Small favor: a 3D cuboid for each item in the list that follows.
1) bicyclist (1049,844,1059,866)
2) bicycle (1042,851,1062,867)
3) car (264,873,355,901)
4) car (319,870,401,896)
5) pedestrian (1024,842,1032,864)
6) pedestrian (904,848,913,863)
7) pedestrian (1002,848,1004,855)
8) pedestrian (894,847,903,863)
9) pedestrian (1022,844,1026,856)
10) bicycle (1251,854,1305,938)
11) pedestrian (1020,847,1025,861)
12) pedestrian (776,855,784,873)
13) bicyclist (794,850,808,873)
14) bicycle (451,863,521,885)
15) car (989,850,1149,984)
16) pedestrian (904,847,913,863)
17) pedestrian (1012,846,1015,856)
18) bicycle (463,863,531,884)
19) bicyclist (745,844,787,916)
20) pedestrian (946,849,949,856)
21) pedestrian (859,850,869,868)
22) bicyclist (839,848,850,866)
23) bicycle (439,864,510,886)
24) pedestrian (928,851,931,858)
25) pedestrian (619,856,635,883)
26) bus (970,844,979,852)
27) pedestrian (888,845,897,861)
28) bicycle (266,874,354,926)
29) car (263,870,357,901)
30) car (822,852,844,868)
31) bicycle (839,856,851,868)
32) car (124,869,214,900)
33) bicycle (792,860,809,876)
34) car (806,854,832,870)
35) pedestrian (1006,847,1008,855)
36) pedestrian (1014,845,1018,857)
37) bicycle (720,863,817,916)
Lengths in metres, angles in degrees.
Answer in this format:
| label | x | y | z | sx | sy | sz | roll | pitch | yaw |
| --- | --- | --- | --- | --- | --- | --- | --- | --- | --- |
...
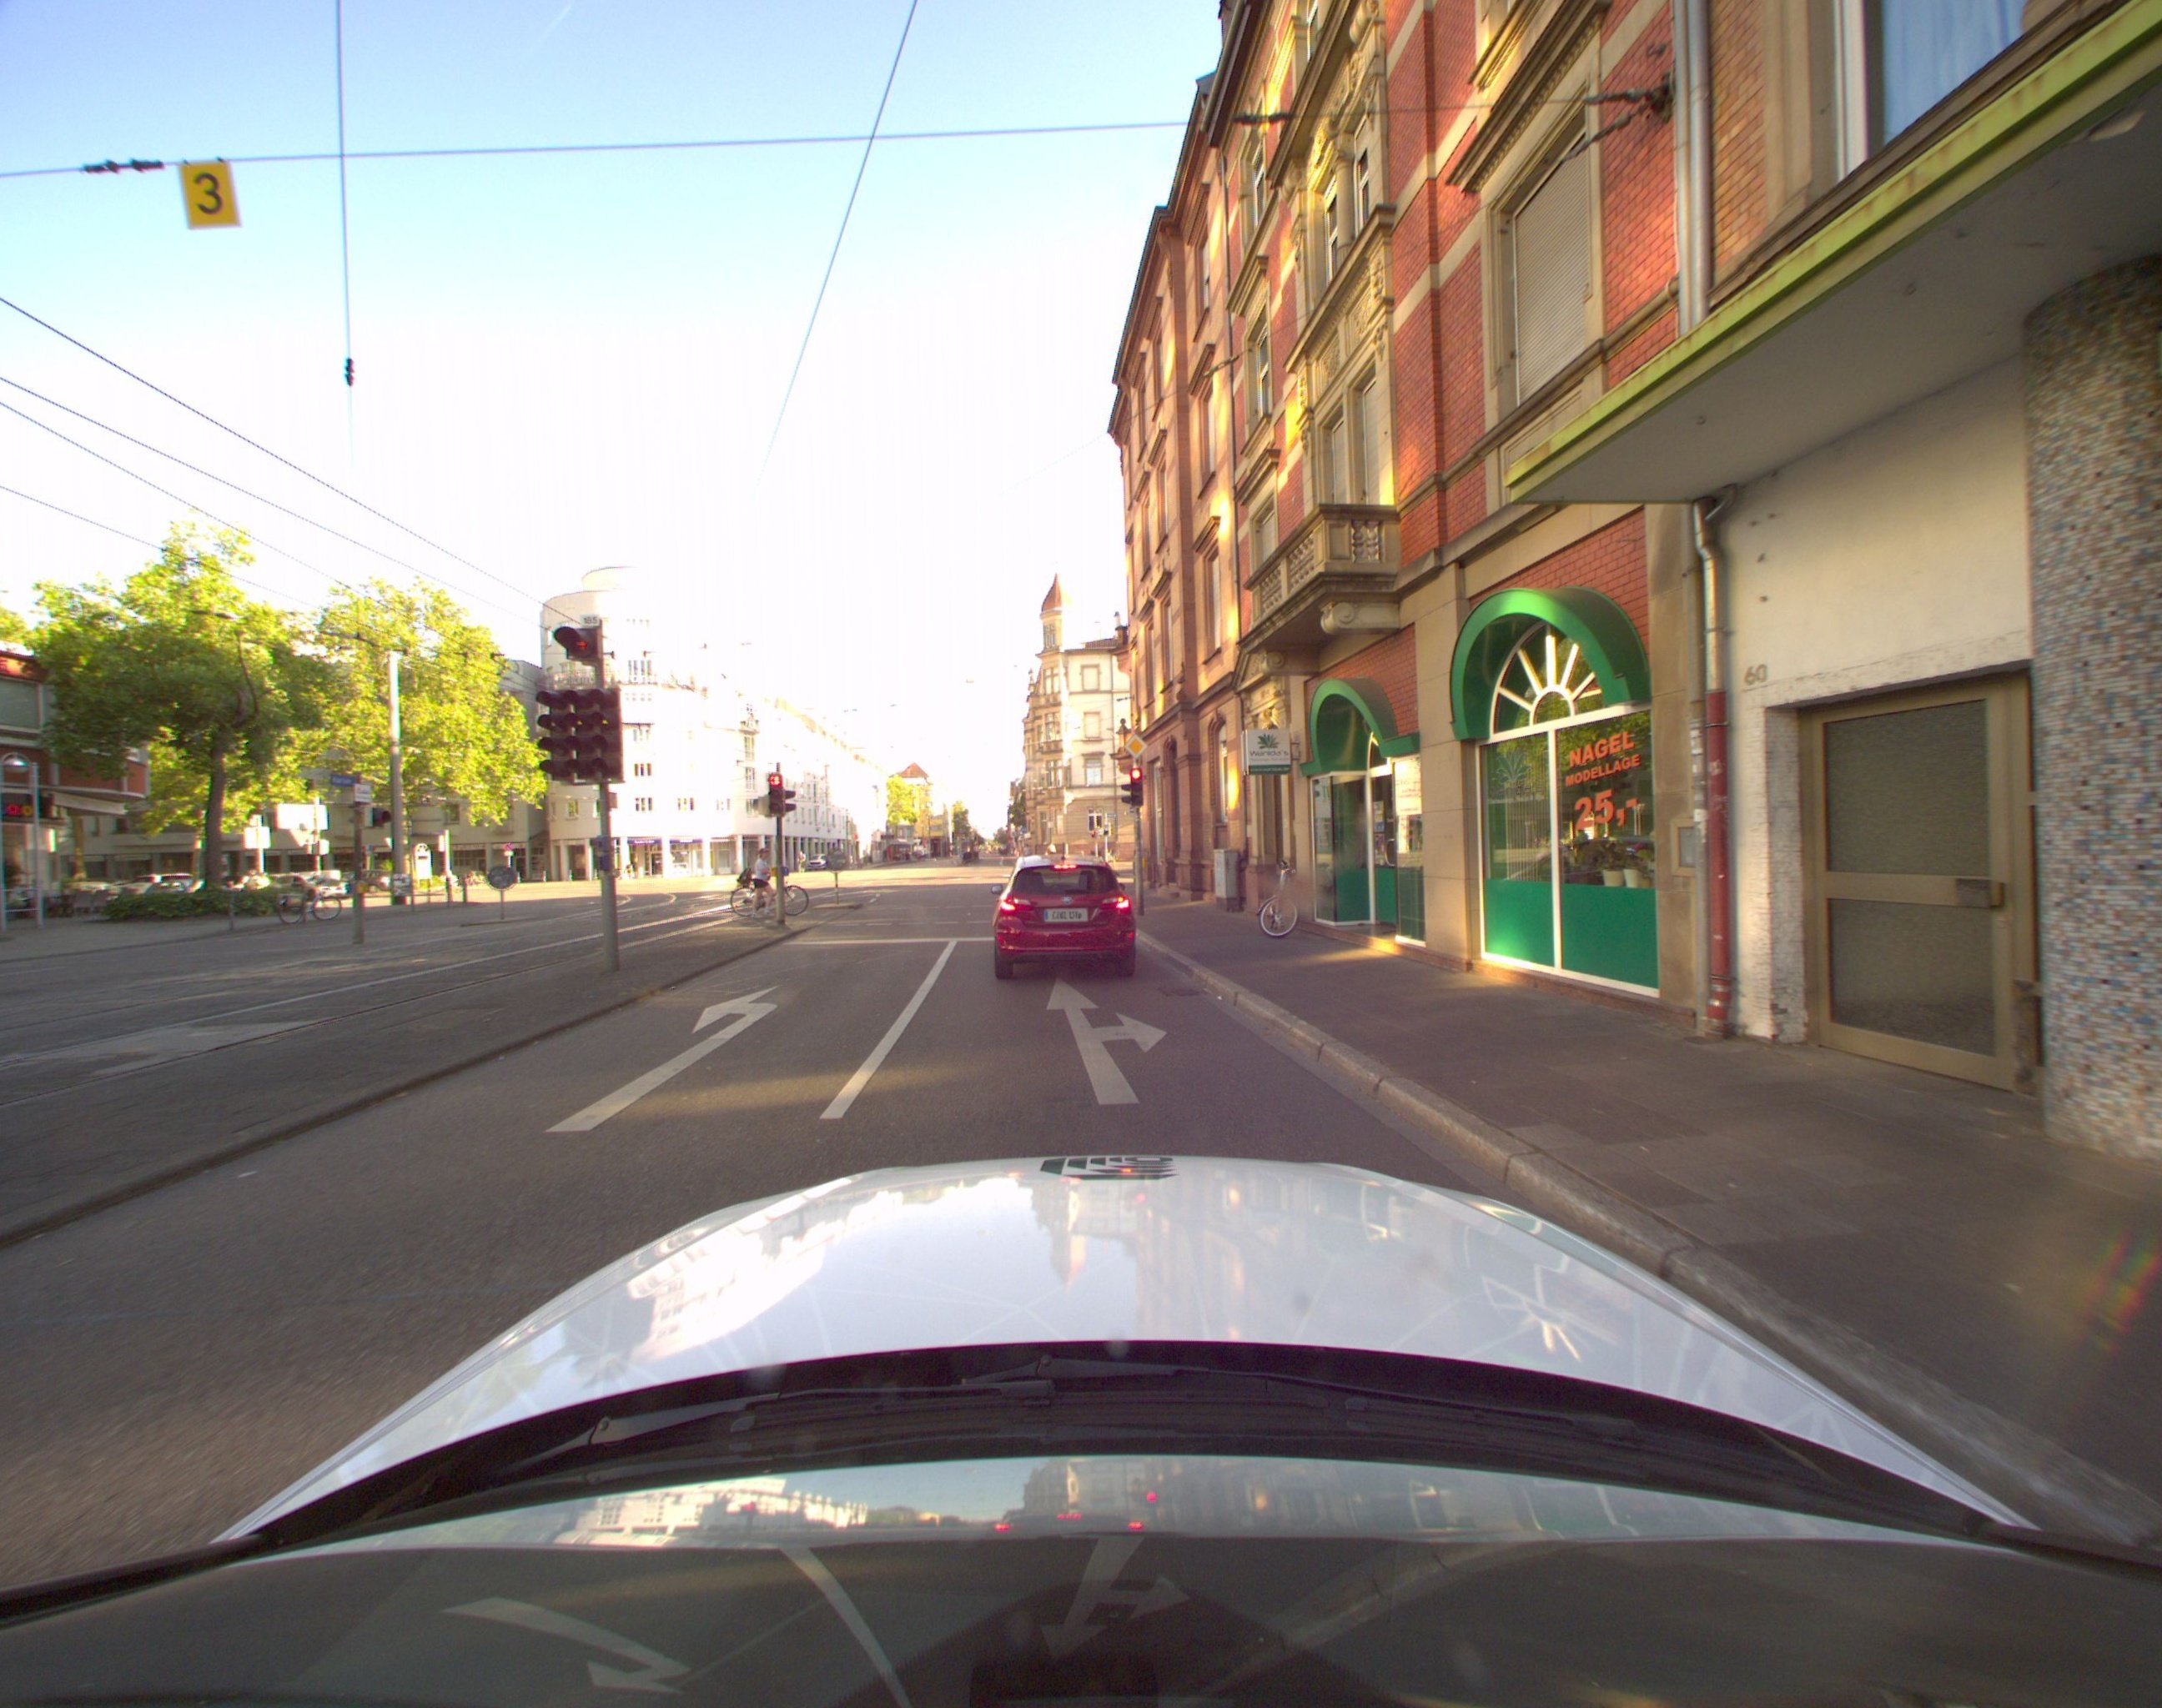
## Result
| label | x | y | z | sx | sy | sz | roll | pitch | yaw |
| --- | --- | --- | --- | --- | --- | --- | --- | --- | --- |
| bicyclist | -2.012 | 0.074 | 60.620 | 0.538 | 1.676 | 0.504 | -2 | 0 | 42 |
| bicycle | -2.179 | 0.376 | 60.781 | 1.467 | 1.089 | 0.531 | -2 | 0 | 43 |
| car | -40.295 | 1.710 | 42.560 | 3.971 | 1.295 | 1.780 | -2 | 1 | 19 |
| car | -48.667 | 1.933 | 55.044 | 3.975 | 1.531 | 1.616 | -2 | 1 | -1 |
| pedestrian | -5.028 | -0.116 | 76.907 | 0.650 | 2.013 | 0.758 | -2 | 0 | -7 |
| pedestrian | -23.147 | 0.212 | 109.536 | 1.044 | 2.013 | 0.956 | -2 | 0 | -8 |
| pedestrian | -20.048 | -0.674 | 208.857 | 0.576 | 1.887 | 0.668 | -2 | 0 | -6 |
| pedestrian | -24.342 | 0.133 | 108.459 | 1.044 | 2.013 | 0.956 | -2 | 0 | -8 |
| pedestrian | -9.682 | -0.716 | 139.145 | 0.575 | 2.013 | 0.631 | -2 | 0 | 0 |
| bicycle | 3.068 | 0.623 | 12.723 | 0.710 | 1.152 | 1.661 | -3 | 1 | 13 |
| pedestrian | -8.394 | -0.021 | 117.508 | 0.645 | 2.013 | 0.682 | -2 | 0 | -6 |
| pedestrian | -28.178 | 0.922 | 76.256 | 0.524 | 1.681 | 0.484 | -2 | 0 | -13 |
| bicyclist | -22.149 | 0.596 | 64.387 | 0.806 | 1.726 | 0.792 | -2 | 0 | -6 |
| bicycle | -48.223 | 1.611 | 66.053 | 4.692 | 1.530 | 1.066 | -2 | 0 | -3 |
| car | -0.346 | 0.685 | 11.092 | 1.753 | 1.466 | 3.935 | 0 | 0 | -7 |
| pedestrian | -22.666 | 0.103 | 107.089 | 1.044 | 2.013 | 0.956 | -2 | 0 | -8 |
| pedestrian | -14.501 | -0.697 | 174.018 | 0.576 | 2.013 | 0.630 | -2 | 0 | -5 |
| bicycle | -48.349 | 1.613 | 67.471 | 4.692 | 1.530 | 1.066 | -2 | 0 | -3 |
| bicyclist | -7.266 | 0.586 | 18.800 | 0.729 | 1.627 | 0.764 | 0 | 0 | -8 |
| pedestrian | -32.868 | -0.435 | 200.201 | 0.631 | 1.604 | 0.575 | -2 | 0 | -22 |
| pedestrian | -20.422 | 0.482 | 76.754 | 0.767 | 1.730 | 0.572 | -2 | 0 | -4 |
| bicyclist | -24.102 | 0.276 | 82.969 | 0.806 | 1.821 | 0.991 | -2 | 0 | -6 |
| bicycle | -48.292 | 1.635 | 64.908 | 4.692 | 1.530 | 1.066 | -2 | 0 | -3 |
| pedestrian | -31.934 | 0.054 | 171.370 | 0.523 | 1.488 | 0.582 | -2 | 0 | -4 |
| pedestrian | -34.643 | 1.168 | 62.085 | 0.950 | 2.013 | 0.930 | -2 | 0 | -34 |
| bus | -28.907 | -1.581 | 220.577 | 1.922 | 2.013 | 7.127 | -2 | 1 | -4 |
| pedestrian | -24.200 | -0.176 | 104.432 | 0.955 | 2.013 | 1.046 | -2 | 0 | -6 |
| bicycle | -21.490 | 1.250 | 22.753 | 0.669 | 1.327 | 1.904 | 1 | 0 | -3 |
| car | -44.017 | 1.783 | 46.525 | 3.983 | 1.559 | 1.634 | -2 | 1 | 7 |
| car | -27.616 | 0.648 | 90.793 | 1.699 | 1.718 | 3.557 | -2 | 0 | -6 |
| bicycle | -24.098 | 0.770 | 83.193 | 0.806 | 1.147 | 2.006 | -2 | 0 | -5 |
| car | -65.243 | 2.152 | 58.371 | 1.989 | 1.964 | 3.995 | -2 | 1 | -3 |
| bicycle | -22.120 | 1.102 | 64.242 | 0.806 | 1.147 | 2.045 | -2 | 0 | -6 |
| car | -26.841 | 0.767 | 83.457 | 1.762 | 1.546 | 3.455 | -2 | 0 | -5 |
| pedestrian | -18.655 | -0.741 | 204.705 | 0.576 | 1.887 | 0.630 | -2 | 0 | -5 |
| pedestrian | -10.412 | -0.464 | 130.961 | 0.575 | 2.013 | 0.631 | -2 | 0 | 0 |
| bicycle | -7.327 | 0.818 | 19.150 | 2.017 | 1.177 | 0.626 | 0 | 0 | -8 |
